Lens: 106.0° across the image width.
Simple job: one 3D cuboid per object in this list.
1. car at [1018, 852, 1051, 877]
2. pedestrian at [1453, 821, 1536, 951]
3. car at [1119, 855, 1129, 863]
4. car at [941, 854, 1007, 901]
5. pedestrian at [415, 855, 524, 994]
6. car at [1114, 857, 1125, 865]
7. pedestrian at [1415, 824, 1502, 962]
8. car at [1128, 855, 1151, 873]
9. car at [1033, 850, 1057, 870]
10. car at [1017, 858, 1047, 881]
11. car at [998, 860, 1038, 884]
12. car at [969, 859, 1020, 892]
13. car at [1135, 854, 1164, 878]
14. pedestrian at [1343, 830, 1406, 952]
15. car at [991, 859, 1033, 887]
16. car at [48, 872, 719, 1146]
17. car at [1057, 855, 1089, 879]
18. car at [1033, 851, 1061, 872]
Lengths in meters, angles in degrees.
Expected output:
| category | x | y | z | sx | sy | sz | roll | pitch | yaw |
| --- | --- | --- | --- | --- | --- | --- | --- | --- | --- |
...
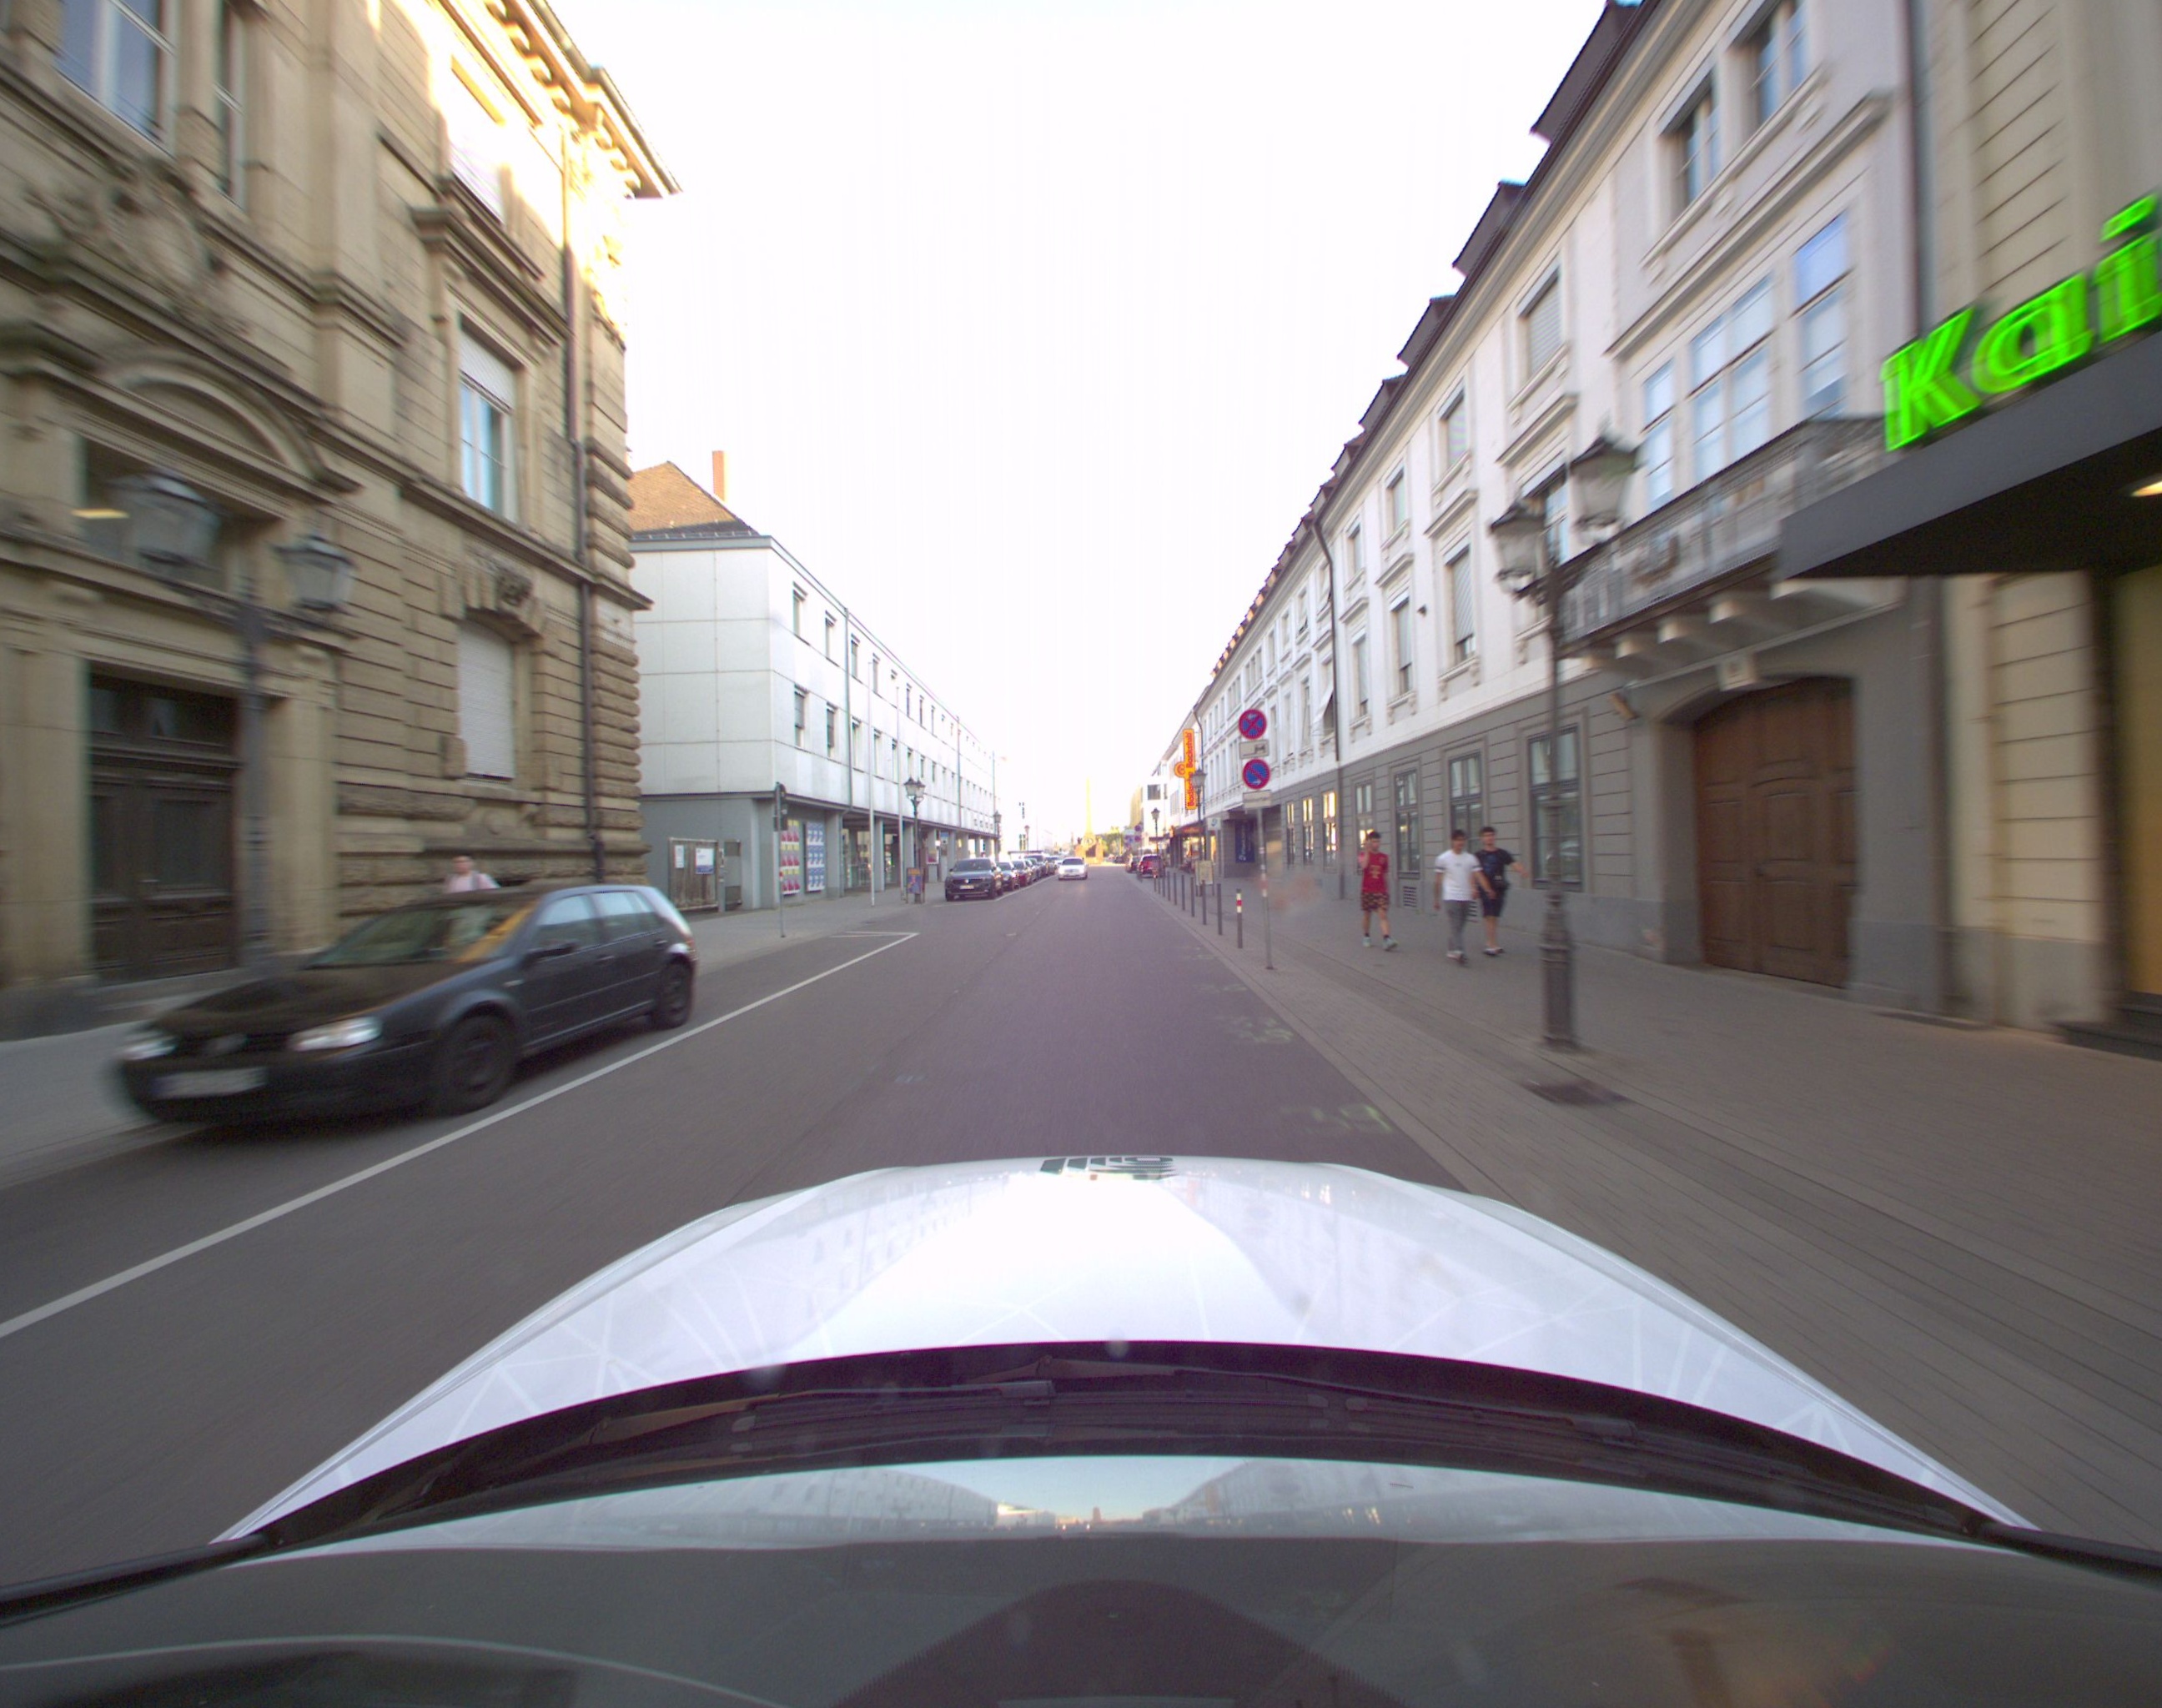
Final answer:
| category | x | y | z | sx | sy | sz | roll | pitch | yaw |
| --- | --- | --- | --- | --- | --- | --- | --- | --- | --- |
| car | -3.448 | 0.760 | 60.780 | 1.986 | 1.728 | 4.517 | -3 | 0 | 2 |
| pedestrian | 5.754 | 0.435 | 11.377 | 0.710 | 1.730 | 0.874 | -2 | 0 | 3 |
| car | 8.401 | 0.943 | 158.928 | 1.985 | 1.464 | 4.003 | -2 | 0 | 3 |
| car | -3.994 | 0.829 | 31.071 | 1.778 | 1.615 | 4.168 | -2 | 0 | 2 |
| pedestrian | -8.035 | 0.890 | 10.741 | 0.710 | 1.730 | 0.897 | 1 | 0 | 3 |
| car | 7.125 | 1.242 | 150.472 | 1.985 | 1.464 | 4.003 | -2 | 0 | 3 |
| pedestrian | 4.969 | 0.497 | 10.769 | 0.744 | 1.730 | 0.882 | -2 | 0 | 4 |
| car | 4.895 | 0.800 | 68.812 | 1.795 | 1.464 | 4.119 | -1 | 0 | 2 |
| car | -3.397 | 0.553 | 76.616 | 1.991 | 1.816 | 4.774 | -1 | 0 | -6 |
| car | -3.270 | 1.007 | 54.844 | 1.667 | 1.400 | 4.000 | -2 | 0 | 1 |
| car | -3.794 | 1.048 | 49.665 | 1.986 | 1.354 | 4.002 | -1 | 0 | 2 |
| car | -3.989 | 0.970 | 38.243 | 1.778 | 1.408 | 4.090 | -2 | 0 | 2 |
| car | 4.568 | 0.759 | 54.962 | 1.753 | 1.523 | 3.679 | -1 | 0 | 2 |
| pedestrian | 4.480 | 0.544 | 12.460 | 0.618 | 1.789 | 0.914 | -2 | 0 | 3 |
| car | -3.819 | 1.022 | 45.629 | 1.778 | 1.408 | 4.090 | -2 | 0 | 2 |
| car | -5.086 | 0.972 | 6.923 | 1.986 | 1.494 | 4.166 | -2 | 0 | 2 |
| car | -0.477 | 0.825 | 52.006 | 1.778 | 1.408 | 4.090 | -2 | 0 | 2 |
| car | -2.820 | 0.617 | 67.489 | 1.986 | 1.662 | 4.002 | -1 | 0 | 2 |
